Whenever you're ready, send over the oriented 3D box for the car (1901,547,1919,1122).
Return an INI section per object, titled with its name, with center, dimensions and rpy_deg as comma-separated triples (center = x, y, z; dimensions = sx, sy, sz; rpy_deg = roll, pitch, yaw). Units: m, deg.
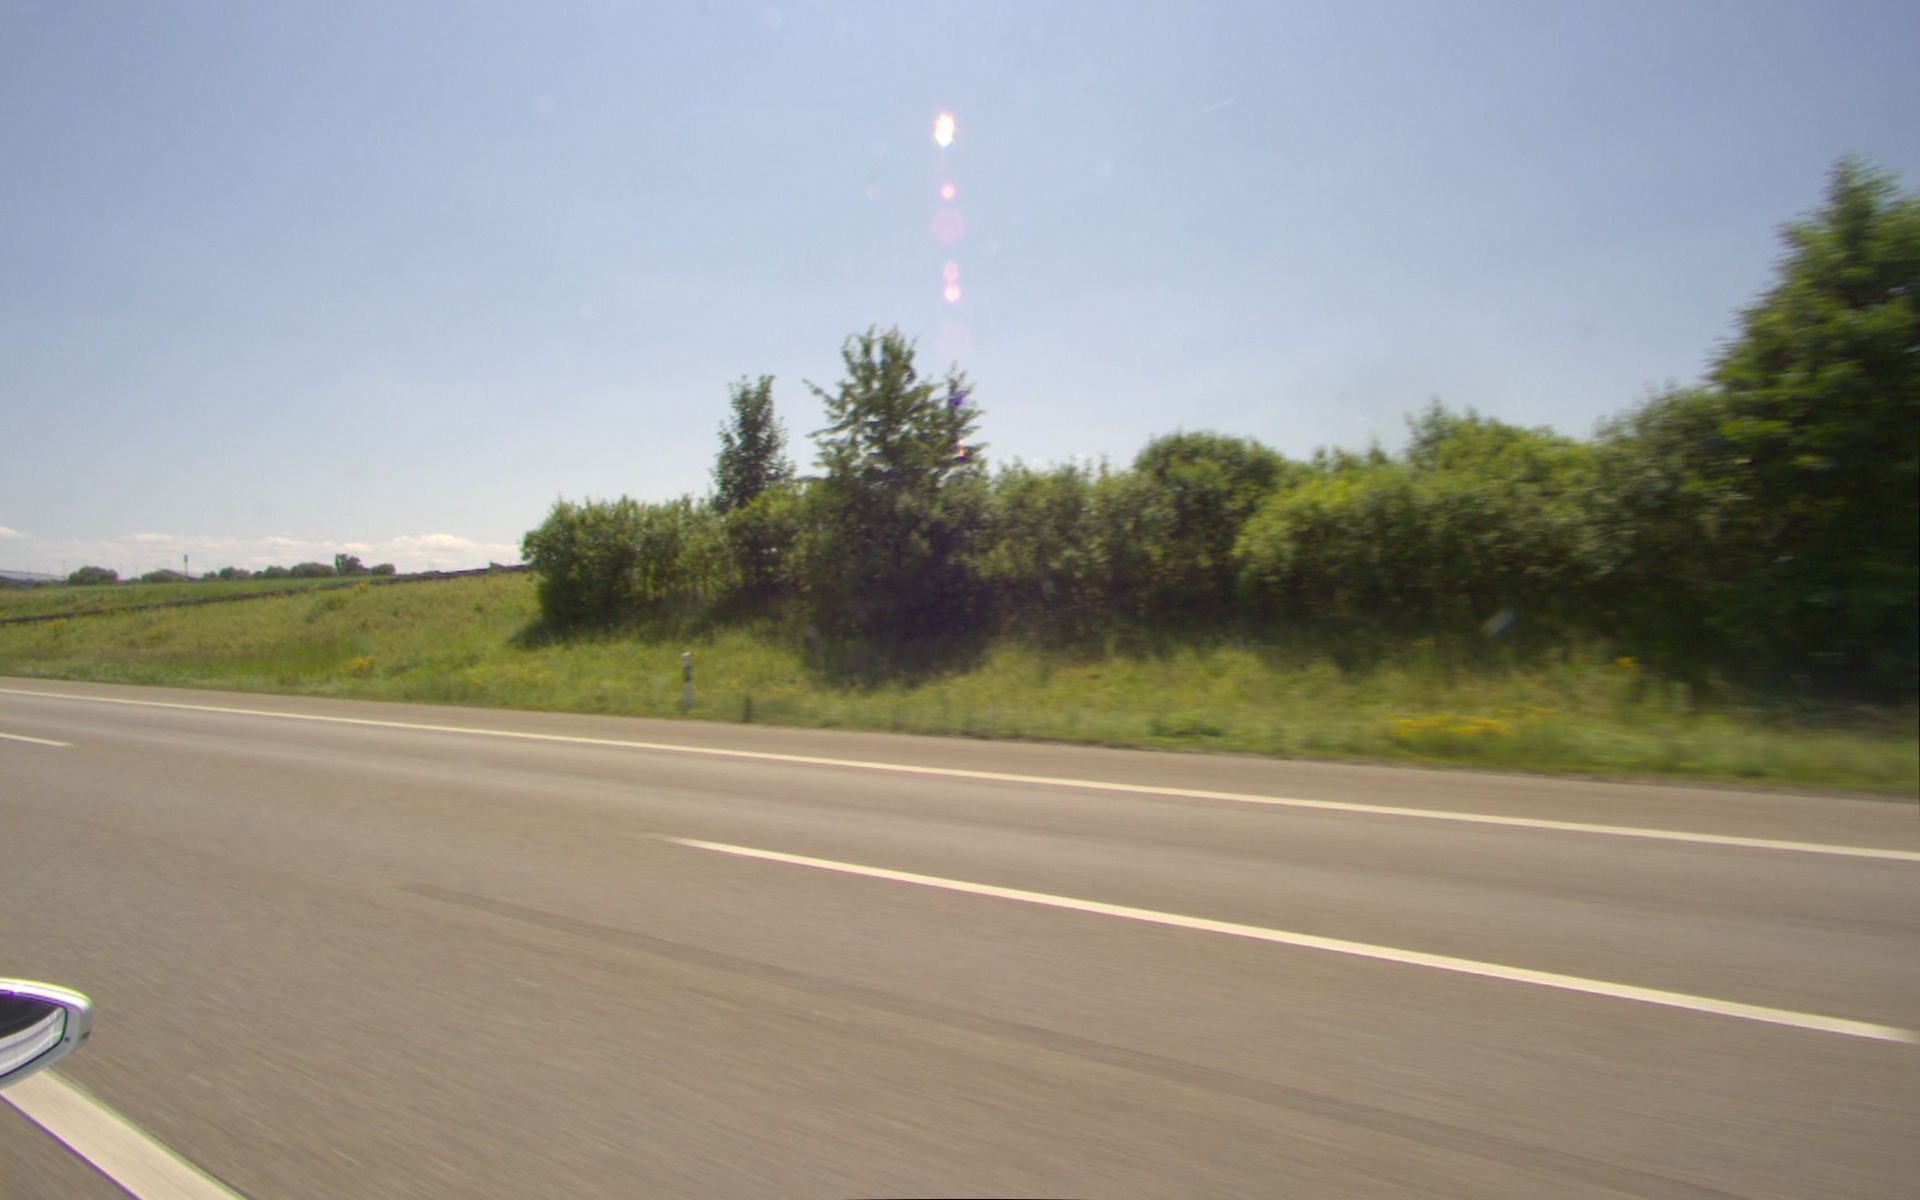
[car]
center = 4.344, 0.649, 1.057
dimensions = 4.569, 1.677, 1.902
rpy_deg = 0, -1, 32
